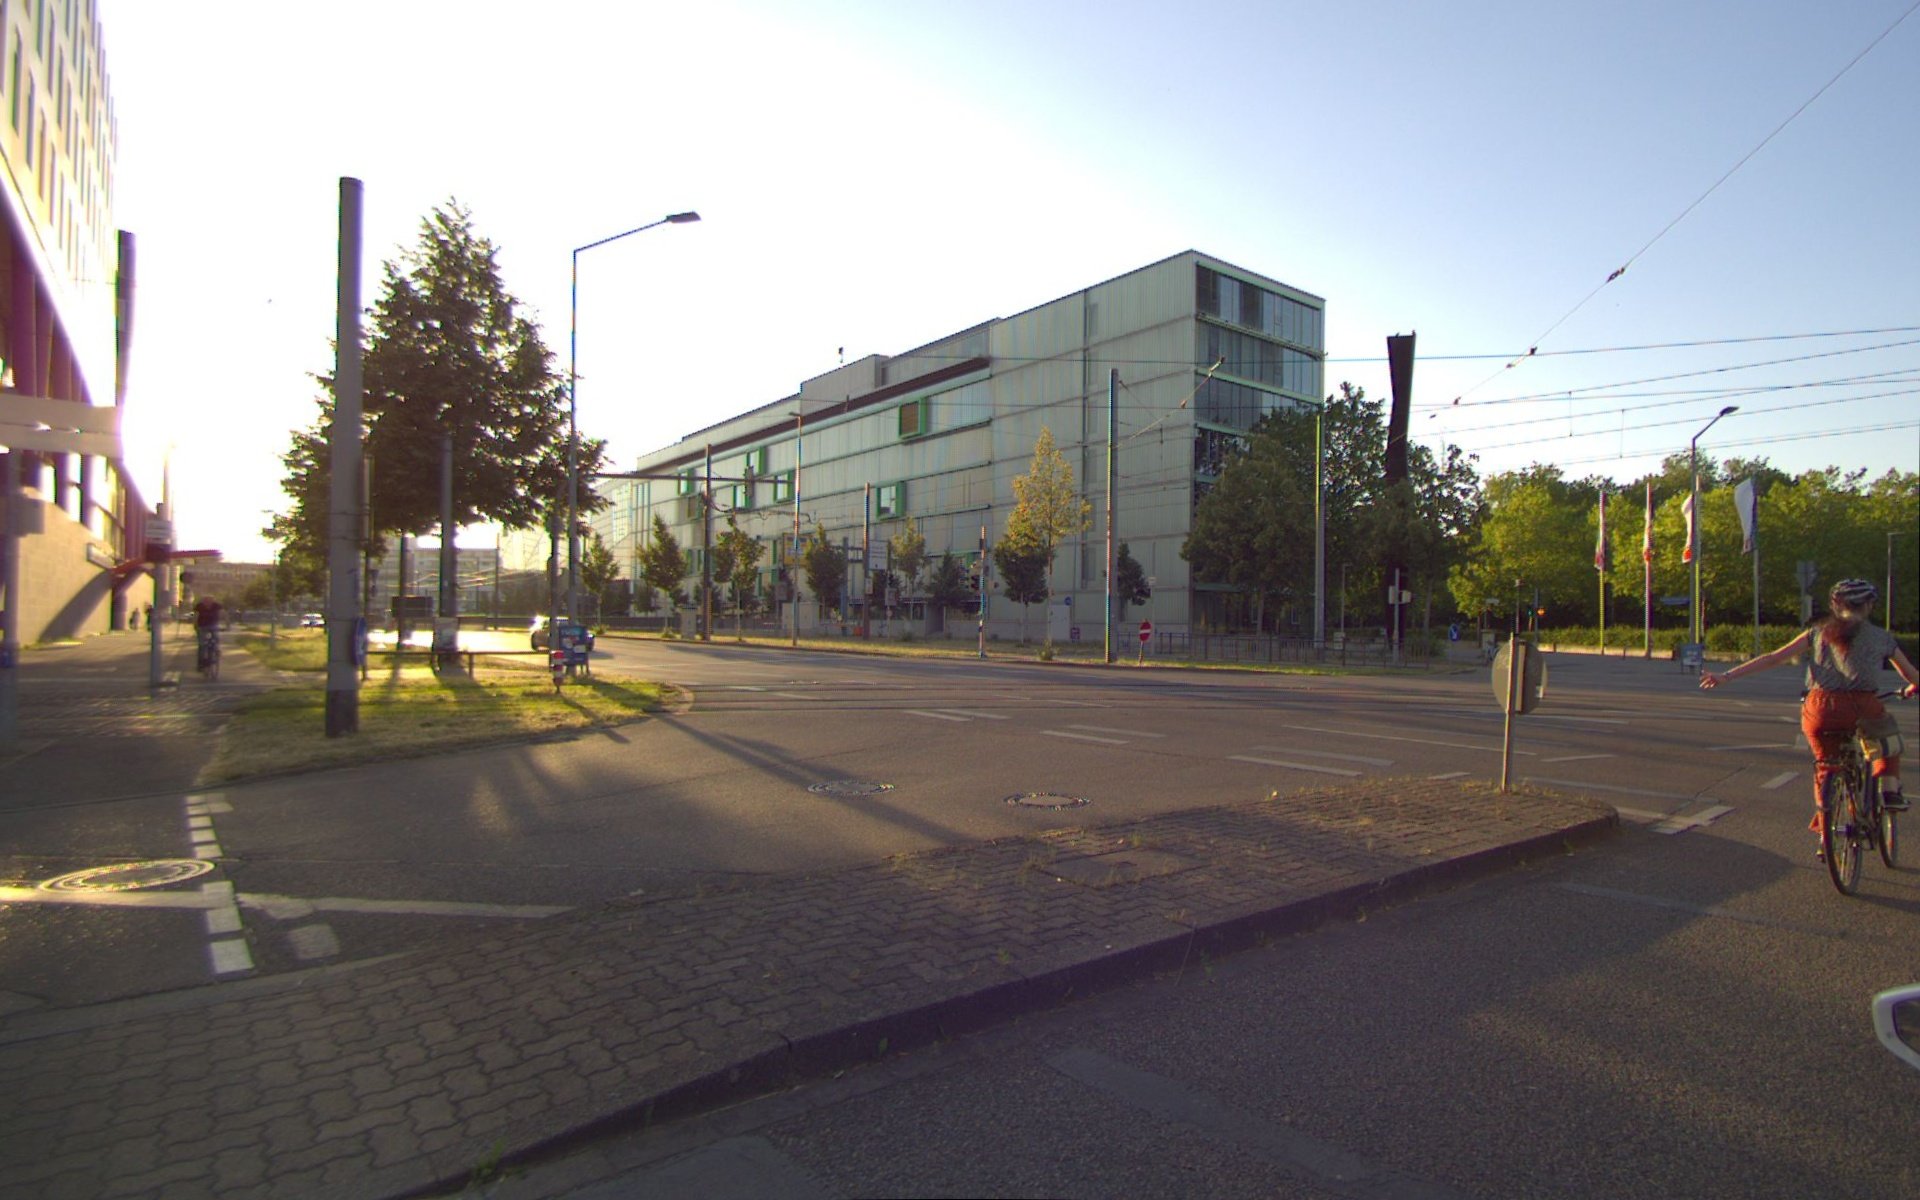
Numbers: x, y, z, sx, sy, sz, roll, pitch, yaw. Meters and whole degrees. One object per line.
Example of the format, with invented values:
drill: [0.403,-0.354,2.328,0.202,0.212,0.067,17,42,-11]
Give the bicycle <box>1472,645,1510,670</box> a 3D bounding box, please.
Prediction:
bicycle: [24.759,2.670,46.787,2.372,1.151,0.693,2,-2,-39]

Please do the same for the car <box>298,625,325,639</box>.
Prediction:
car: [-70.610,3.444,109.328,1.983,1.439,3.955,2,-2,-39]

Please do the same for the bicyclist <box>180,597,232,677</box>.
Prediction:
bicyclist: [-16.180,0.787,21.590,0.800,1.654,1.275,2,-2,-35]

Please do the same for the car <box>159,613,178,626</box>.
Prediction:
car: [-95.058,2.348,120.668,1.704,1.518,3.958,2,-2,-37]

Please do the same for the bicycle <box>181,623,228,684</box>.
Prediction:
bicycle: [-16.121,1.118,21.462,0.736,1.223,2.089,2,-2,-36]

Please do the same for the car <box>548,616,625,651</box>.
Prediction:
car: [-16.338,1.455,43.831,1.983,1.439,3.955,2,-2,-39]

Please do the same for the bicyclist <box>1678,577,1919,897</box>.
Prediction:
bicyclist: [5.199,0.767,6.181,0.986,1.740,1.024,2,-2,-36]

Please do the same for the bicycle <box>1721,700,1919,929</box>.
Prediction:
bicycle: [5.346,1.195,6.075,2.102,1.082,0.630,2,-2,-37]

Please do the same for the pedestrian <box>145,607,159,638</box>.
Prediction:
pedestrian: [-54.160,1.482,67.370,0.613,2.040,0.803,3,-2,-37]

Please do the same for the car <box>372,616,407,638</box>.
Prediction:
car: [-48.762,2.303,85.832,1.983,1.729,3.955,2,-2,-39]

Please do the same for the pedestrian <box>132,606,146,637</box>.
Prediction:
pedestrian: [-54.643,1.447,66.882,0.613,2.040,0.803,3,-2,-37]
